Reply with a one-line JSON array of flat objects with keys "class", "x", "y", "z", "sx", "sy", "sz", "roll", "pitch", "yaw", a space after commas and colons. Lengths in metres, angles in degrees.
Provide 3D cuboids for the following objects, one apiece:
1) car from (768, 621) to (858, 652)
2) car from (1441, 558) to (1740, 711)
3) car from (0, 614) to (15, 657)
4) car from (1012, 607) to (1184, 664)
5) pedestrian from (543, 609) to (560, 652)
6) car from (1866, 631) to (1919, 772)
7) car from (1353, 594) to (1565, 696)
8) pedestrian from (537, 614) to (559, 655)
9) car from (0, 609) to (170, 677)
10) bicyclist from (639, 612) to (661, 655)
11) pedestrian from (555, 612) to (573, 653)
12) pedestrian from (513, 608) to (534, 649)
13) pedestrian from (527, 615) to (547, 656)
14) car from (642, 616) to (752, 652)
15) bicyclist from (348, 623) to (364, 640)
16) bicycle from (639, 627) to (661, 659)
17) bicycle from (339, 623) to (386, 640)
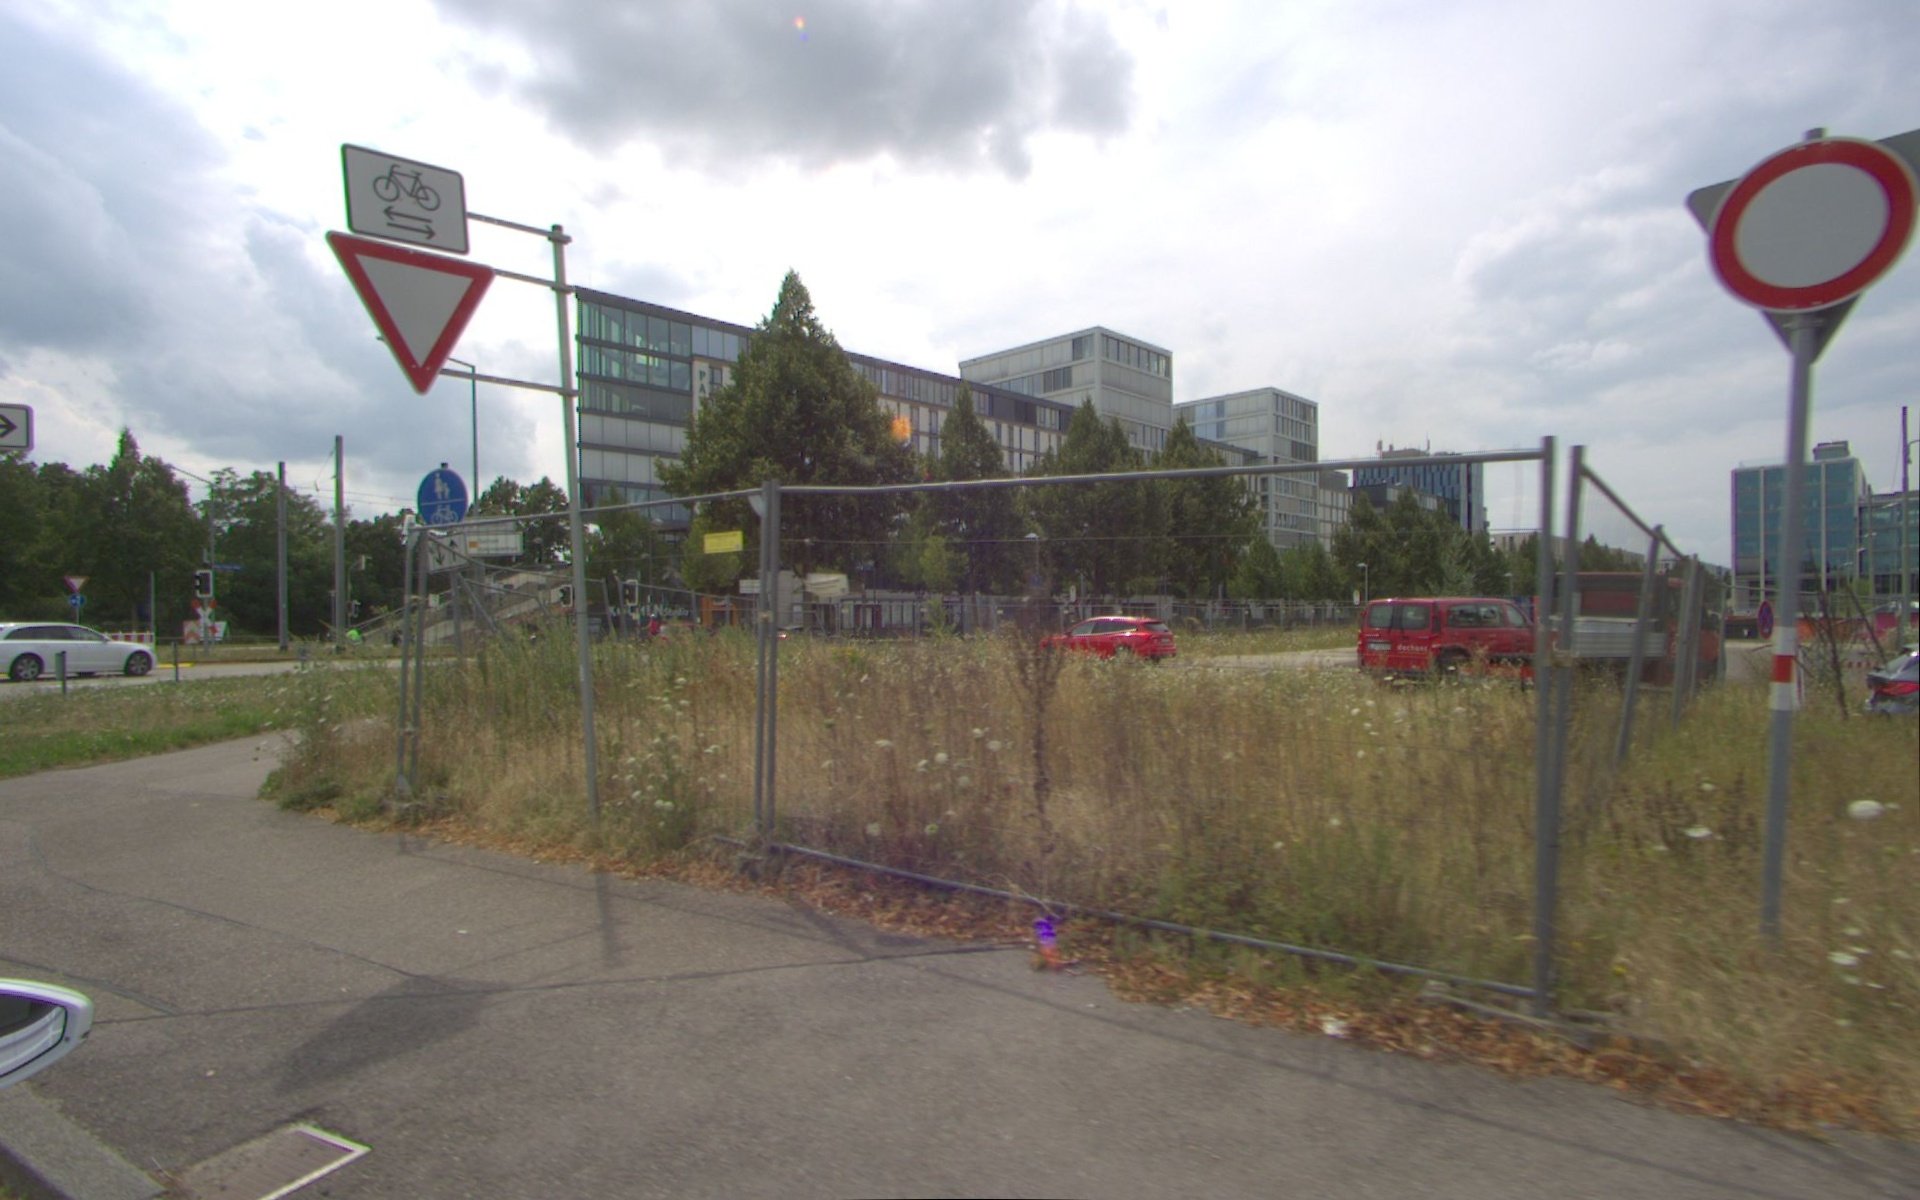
[{"class": "car", "x": -7.116, "y": 1.754, "z": 48.627, "sx": 1.979, "sy": 1.392, "sz": 3.964, "roll": -1, "pitch": -1, "yaw": 44}, {"class": "car", "x": 11.891, "y": 0.594, "z": 18.685, "sx": 6.456, "sy": 2.443, "sz": 2.304, "roll": 0, "pitch": -1, "yaw": -34}, {"class": "car", "x": -42.068, "y": 1.553, "z": 42.428, "sx": 3.943, "sy": 1.772, "sz": 1.990, "roll": -3, "pitch": -2, "yaw": 31}, {"class": "car", "x": 4.188, "y": 1.086, "z": 30.913, "sx": 5.076, "sy": 1.624, "sz": 1.777, "roll": -1, "pitch": -1, "yaw": 38}, {"class": "pedestrian", "x": -18.341, "y": 1.360, "z": 44.943, "sx": 0.546, "sy": 1.886, "sz": 0.527, "roll": 0, "pitch": 0, "yaw": 39}, {"class": "car", "x": 12.253, "y": 1.071, "z": 10.295, "sx": 4.207, "sy": 1.492, "sz": 1.755, "roll": -1, "pitch": -1, "yaw": 38}, {"class": "car", "x": 10.742, "y": 0.892, "z": 21.442, "sx": 4.924, "sy": 1.936, "sz": 1.923, "roll": 1, "pitch": 1, "yaw": -35}, {"class": "pedestrian", "x": -18.135, "y": 1.517, "z": 44.080, "sx": 0.546, "sy": 1.805, "sz": 0.685, "roll": 0, "pitch": 0, "yaw": 39}, {"class": "car", "x": -23.799, "y": 1.101, "z": 26.278, "sx": 1.962, "sy": 1.639, "sz": 4.752, "roll": -1, "pitch": -1, "yaw": 9}, {"class": "bicyclist", "x": -11.931, "y": 1.283, "z": 38.526, "sx": 0.777, "sy": 1.648, "sz": 1.047, "roll": -1, "pitch": 0, "yaw": -17}, {"class": "pedestrian", "x": -17.626, "y": 1.436, "z": 44.566, "sx": 0.546, "sy": 1.805, "sz": 0.576, "roll": 0, "pitch": 0, "yaw": 39}, {"class": "pedestrian", "x": -19.099, "y": 1.238, "z": 43.817, "sx": 0.546, "sy": 1.805, "sz": 0.685, "roll": 0, "pitch": 0, "yaw": 39}, {"class": "pedestrian", "x": -18.777, "y": 1.551, "z": 44.440, "sx": 0.546, "sy": 1.805, "sz": 0.629, "roll": 0, "pitch": 0, "yaw": 39}, {"class": "car", "x": -12.328, "y": 1.571, "z": 47.175, "sx": 1.979, "sy": 1.639, "sz": 4.711, "roll": -1, "pitch": -1, "yaw": 43}, {"class": "bicyclist", "x": -33.566, "y": 1.751, "z": 55.682, "sx": 0.647, "sy": 0.895, "sz": 0.606, "roll": 0, "pitch": -2, "yaw": -19}, {"class": "bicycle", "x": -11.929, "y": 1.644, "z": 38.526, "sx": 0.777, "sy": 1.183, "sz": 2.038, "roll": 0, "pitch": -1, "yaw": -17}, {"class": "bicycle", "x": -33.277, "y": 1.761, "z": 55.786, "sx": 2.166, "sy": 0.950, "sz": 0.613, "roll": 0, "pitch": -2, "yaw": -19}]
